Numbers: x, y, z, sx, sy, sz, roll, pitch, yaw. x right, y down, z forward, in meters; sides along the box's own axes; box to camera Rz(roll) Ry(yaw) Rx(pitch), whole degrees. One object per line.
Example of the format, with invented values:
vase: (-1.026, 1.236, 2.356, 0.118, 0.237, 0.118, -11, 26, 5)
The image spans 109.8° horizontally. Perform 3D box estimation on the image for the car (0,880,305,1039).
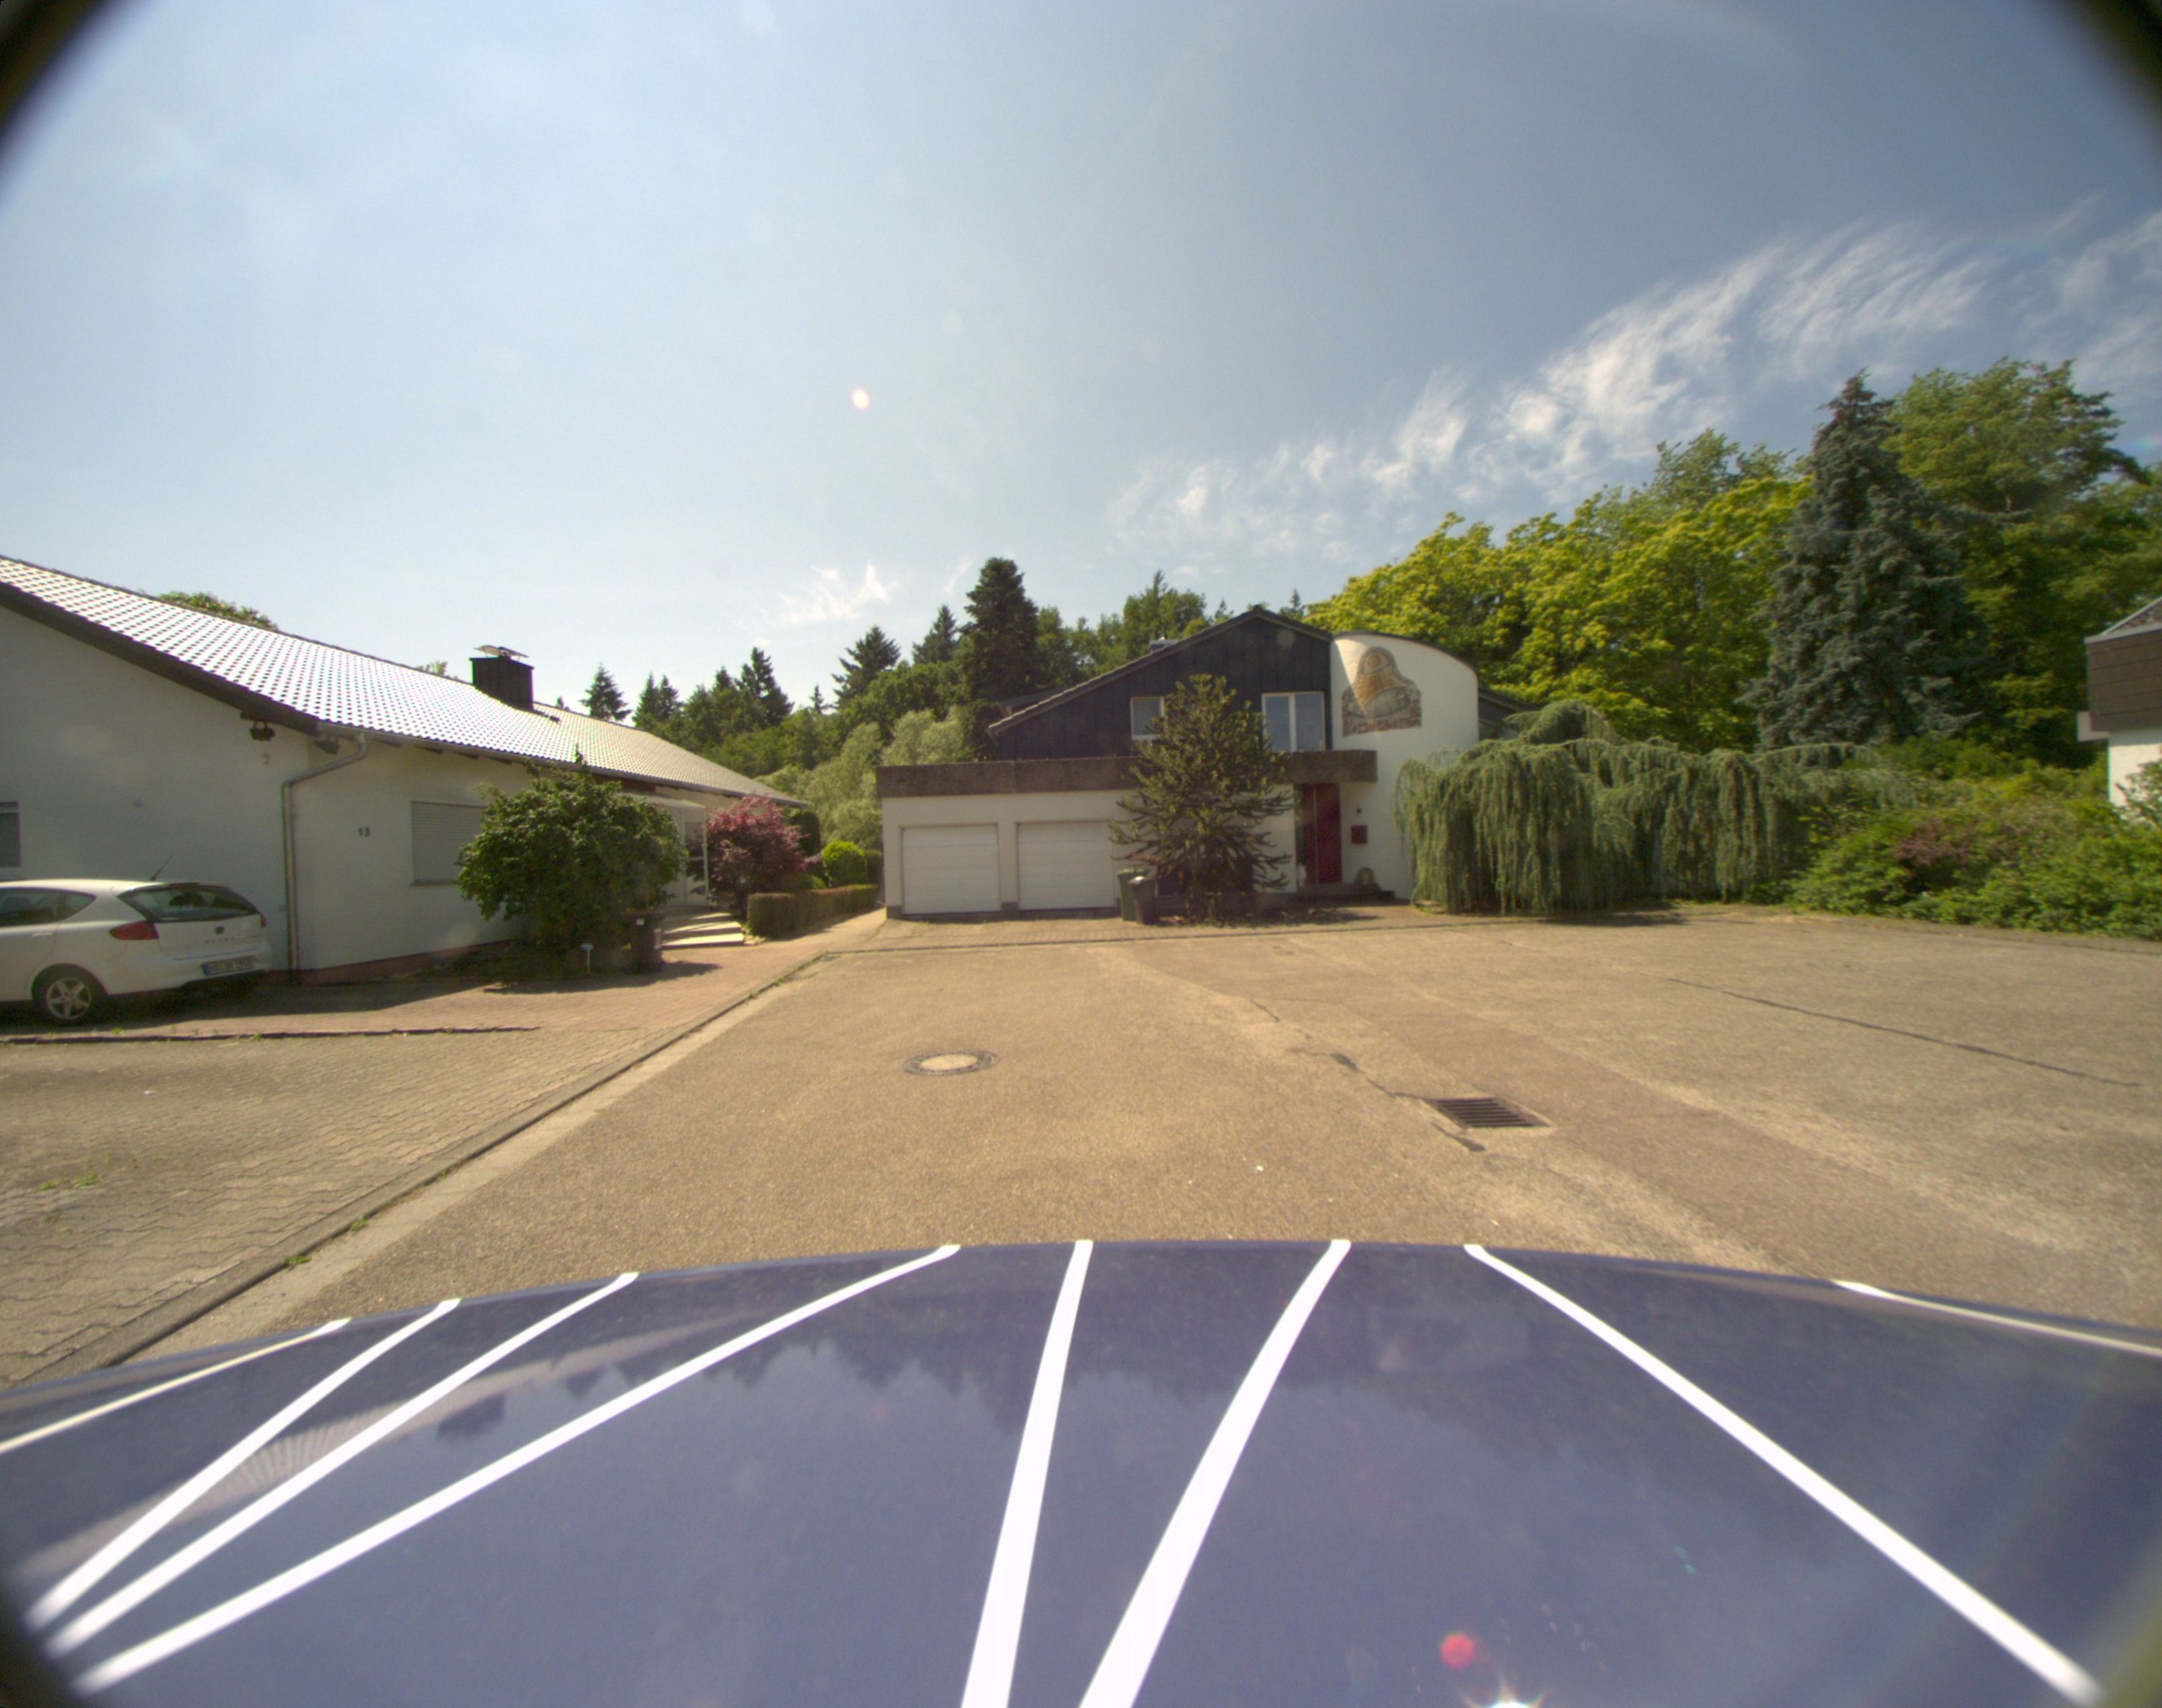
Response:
car: (-12.011, 1.179, 8.825, 3.998, 1.559, 1.751, -2, 1, -3)

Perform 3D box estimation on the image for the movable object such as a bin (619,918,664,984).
movable object such as a bin: (-6.342, 1.395, 10.972, 0.390, 0.886, 0.375, -2, 2, -1)

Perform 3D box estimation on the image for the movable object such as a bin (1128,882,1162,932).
movable object such as a bin: (1.283, 1.057, 15.250, 0.524, 0.944, 0.388, -2, 1, -26)

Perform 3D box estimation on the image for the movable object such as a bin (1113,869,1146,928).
movable object such as a bin: (1.008, 0.927, 15.934, 0.633, 1.196, 0.551, -2, 1, 1)
